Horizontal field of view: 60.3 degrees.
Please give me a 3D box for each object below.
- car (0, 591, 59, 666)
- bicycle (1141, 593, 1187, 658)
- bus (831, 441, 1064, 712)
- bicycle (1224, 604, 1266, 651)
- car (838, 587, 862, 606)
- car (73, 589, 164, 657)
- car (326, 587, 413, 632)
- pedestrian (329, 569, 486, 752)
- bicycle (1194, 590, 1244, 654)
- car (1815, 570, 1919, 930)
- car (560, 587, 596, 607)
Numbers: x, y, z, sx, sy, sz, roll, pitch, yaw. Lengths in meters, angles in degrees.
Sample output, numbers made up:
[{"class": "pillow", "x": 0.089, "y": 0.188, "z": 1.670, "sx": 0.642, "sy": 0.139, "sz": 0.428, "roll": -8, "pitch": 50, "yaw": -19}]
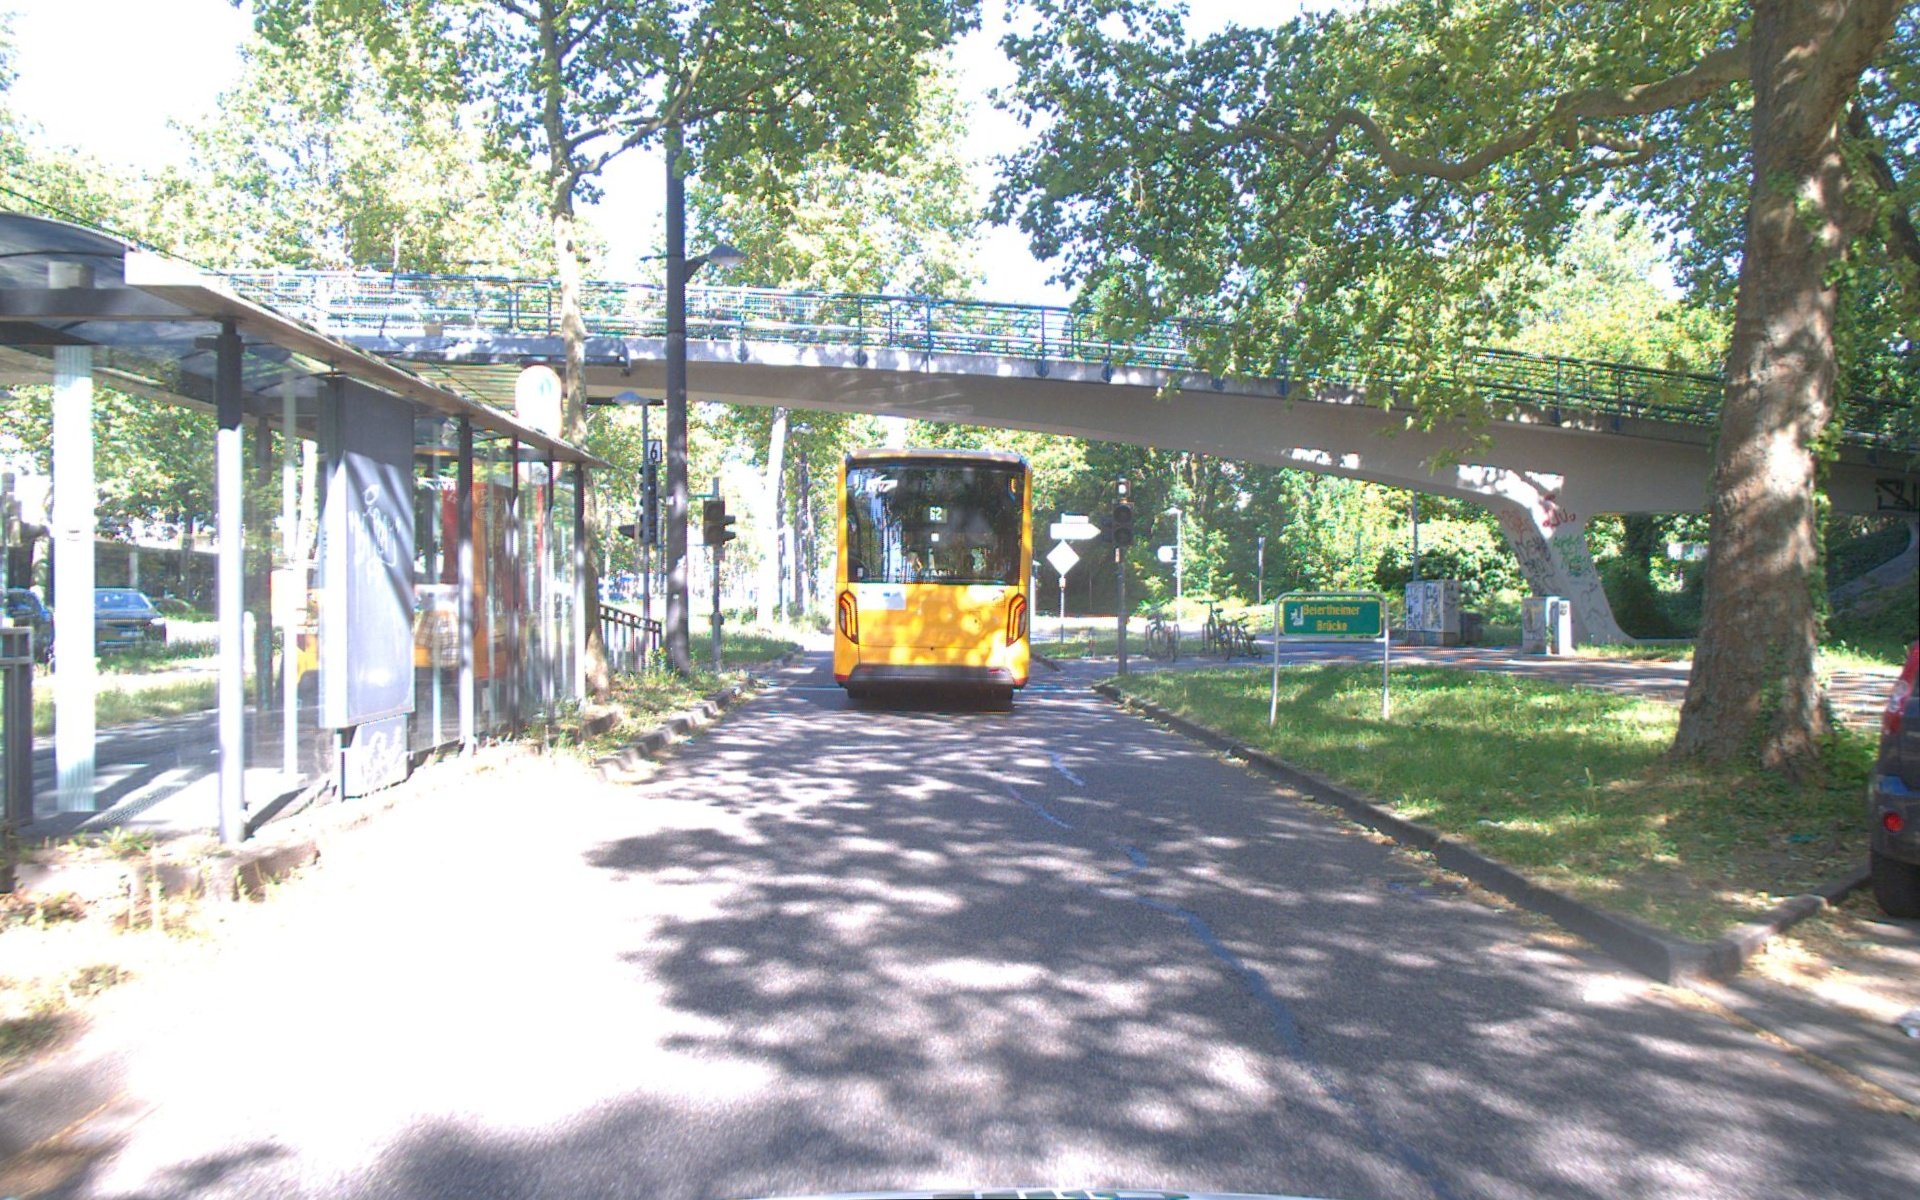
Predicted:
[{"class": "car", "x": -21.407, "y": 0.607, "z": 35.837, "sx": 1.759, "sy": 1.593, "sz": 4.283, "roll": 0, "pitch": 0, "yaw": -5}, {"class": "bicycle", "x": 4.101, "y": 0.503, "z": 33.329, "sx": 0.578, "sy": 1.203, "sz": 1.799, "roll": -3, "pitch": 1, "yaw": -3}, {"class": "bus", "x": -0.427, "y": -0.332, "z": 26.406, "sx": 2.842, "sy": 3.324, "sz": 12.211, "roll": 0, "pitch": 0, "yaw": -3}, {"class": "bicycle", "x": 5.777, "y": 0.558, "z": 33.626, "sx": 0.495, "sy": 0.867, "sz": 1.473, "roll": -3, "pitch": 1, "yaw": -3}, {"class": "car", "x": -10.493, "y": -0.374, "z": 157.914, "sx": 1.946, "sy": 1.672, "sz": 4.133, "roll": 2, "pitch": 1, "yaw": -1}, {"class": "car", "x": -21.173, "y": 0.544, "z": 41.552, "sx": 1.776, "sy": 1.593, "sz": 4.243, "roll": -1, "pitch": 0, "yaw": -31}, {"class": "car", "x": -21.739, "y": 0.322, "z": 61.007, "sx": 1.758, "sy": 1.608, "sz": 4.287, "roll": 0, "pitch": 0, "yaw": -2}, {"class": "pedestrian", "x": -3.975, "y": 0.420, "z": 11.960, "sx": 0.837, "sy": 1.264, "sz": 0.850, "roll": 1, "pitch": 0, "yaw": 0}, {"class": "bicycle", "x": 5.223, "y": 0.431, "z": 33.412, "sx": 0.578, "sy": 1.203, "sz": 1.799, "roll": -3, "pitch": 1, "yaw": -3}, {"class": "car", "x": 5.749, "y": 0.554, "z": 8.045, "sx": 1.769, "sy": 1.487, "sz": 3.974, "roll": -2, "pitch": 1, "yaw": 43}, {"class": "car", "x": -29.406, "y": -0.263, "z": 127.531, "sx": 1.757, "sy": 1.536, "sz": 4.001, "roll": 0, "pitch": 0, "yaw": 1}]
